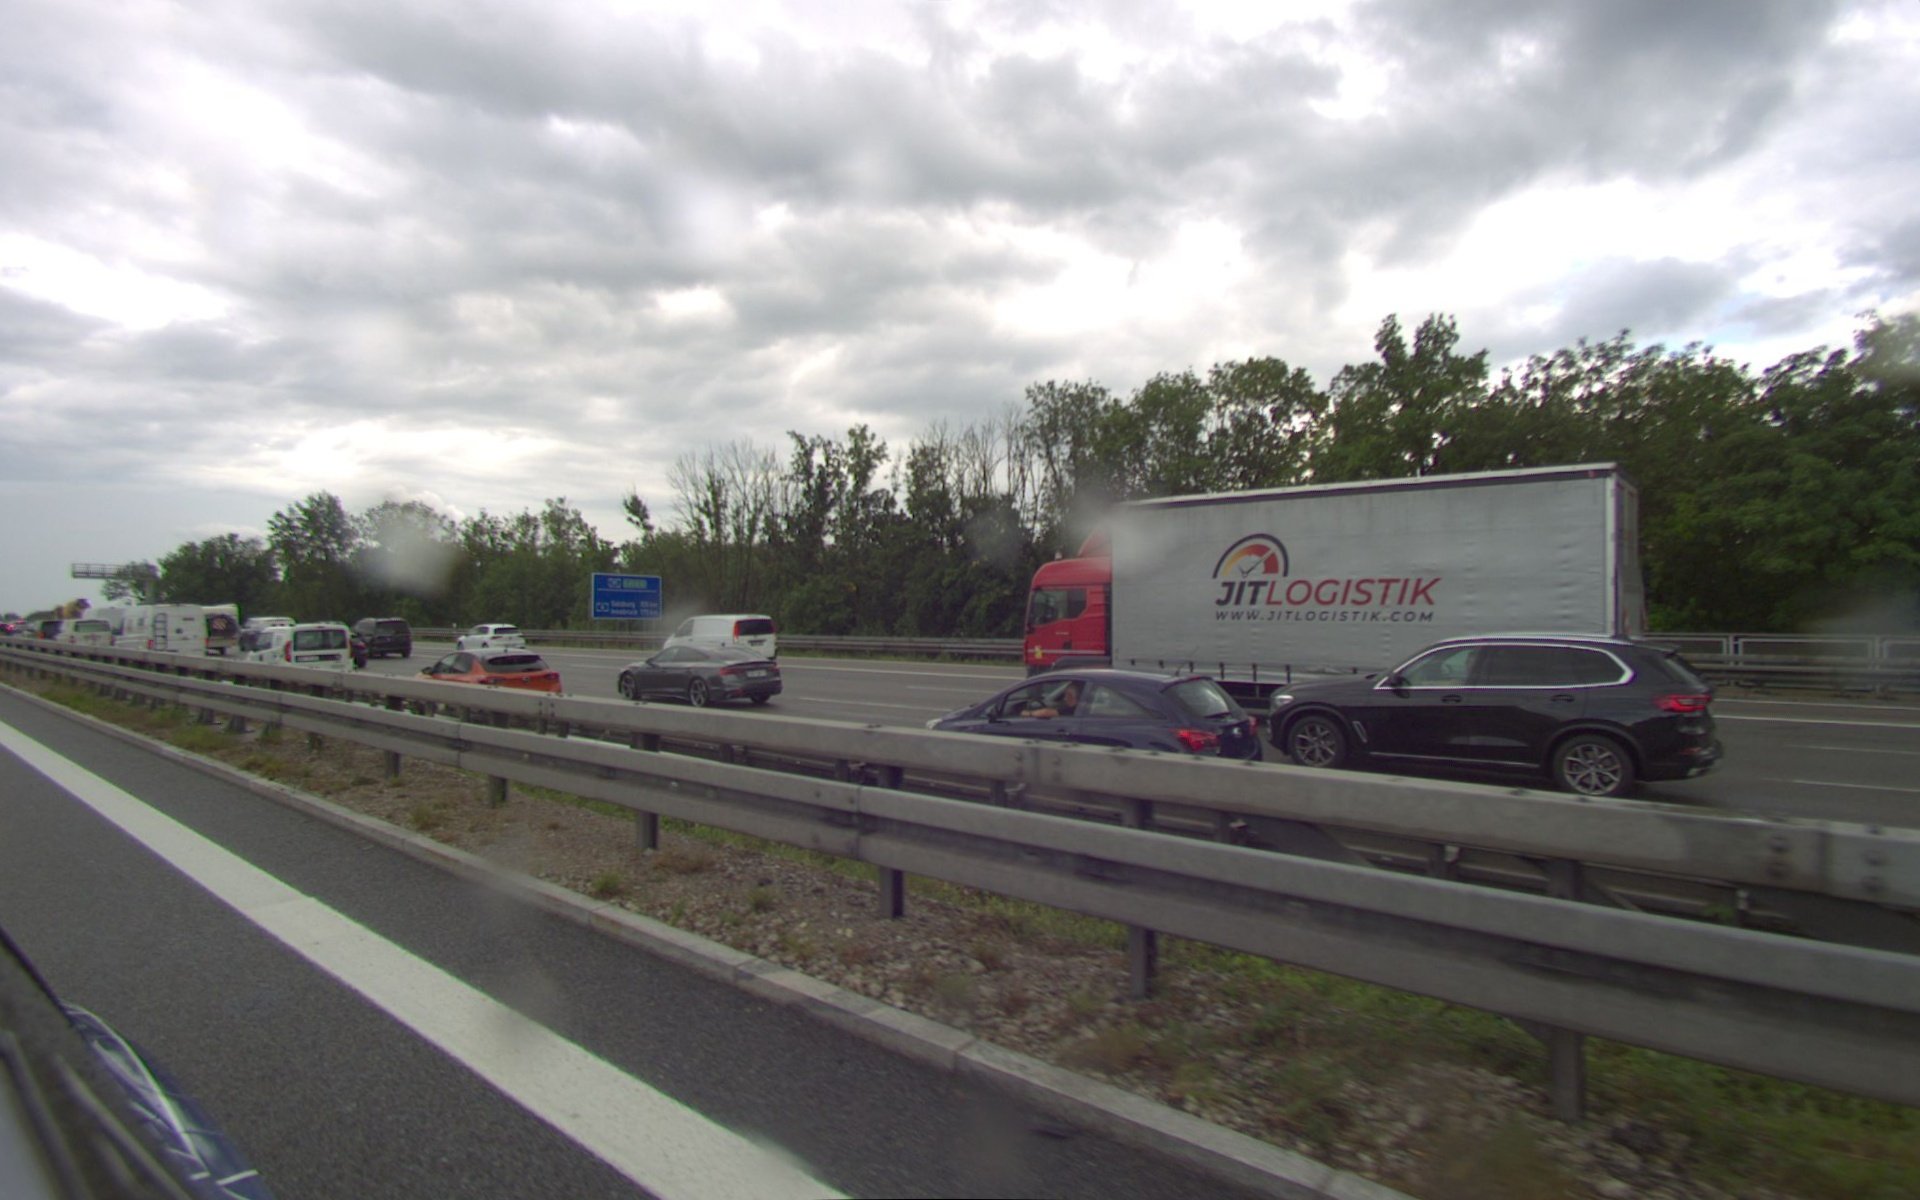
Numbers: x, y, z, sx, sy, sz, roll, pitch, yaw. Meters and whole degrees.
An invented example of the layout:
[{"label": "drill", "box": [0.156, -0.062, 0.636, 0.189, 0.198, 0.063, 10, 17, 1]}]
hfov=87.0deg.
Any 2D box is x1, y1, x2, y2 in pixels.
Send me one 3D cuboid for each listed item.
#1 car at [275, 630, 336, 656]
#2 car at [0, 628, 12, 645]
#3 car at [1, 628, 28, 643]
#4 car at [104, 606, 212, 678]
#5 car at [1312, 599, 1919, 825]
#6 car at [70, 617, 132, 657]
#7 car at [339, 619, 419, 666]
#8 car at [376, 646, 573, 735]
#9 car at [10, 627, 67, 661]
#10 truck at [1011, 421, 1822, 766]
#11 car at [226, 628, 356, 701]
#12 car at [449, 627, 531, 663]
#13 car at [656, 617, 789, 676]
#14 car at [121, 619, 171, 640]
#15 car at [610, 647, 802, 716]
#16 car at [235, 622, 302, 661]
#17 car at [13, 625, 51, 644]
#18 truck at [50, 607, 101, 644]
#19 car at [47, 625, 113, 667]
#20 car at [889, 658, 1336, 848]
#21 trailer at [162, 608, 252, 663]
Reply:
[{"label": "car", "box": [-40.811, 2.646, 63.073, 4.474, 1.506, 1.962, -1, -2, 40]}, {"label": "car", "box": [-97.143, 3.696, 102.087, 4.641, 1.615, 1.705, -1, 0, 40]}, {"label": "car", "box": [-108.641, 4.053, 116.279, 4.516, 1.615, 1.705, -1, 0, 40]}, {"label": "car", "box": [-32.583, 1.644, 41.009, 7.305, 2.698, 2.003, -1, -2, 40]}, {"label": "car", "box": [7.042, 1.038, 11.304, 5.585, 1.977, 1.874, -1, -2, 41]}, {"label": "car", "box": [-59.991, 2.521, 70.606, 7.730, 2.673, 2.027, -1, -2, 40]}, {"label": "car", "box": [-27.214, 1.952, 47.351, 4.474, 2.093, 1.799, -1, -2, 40]}, {"label": "car", "box": [-9.716, 1.706, 20.128, 4.474, 1.472, 1.874, -1, -2, 40]}, {"label": "car", "box": [-54.187, 2.547, 59.469, 5.420, 1.919, 1.799, -1, -2, 40]}, {"label": "truck", "box": [6.553, 0.042, 17.238, 12.287, 4.144, 2.769, -1, -2, 41]}, {"label": "car", "box": [-19.798, 1.803, 29.842, 5.219, 1.967, 1.799, -1, -2, 40]}, {"label": "car", "box": [-22.198, 2.092, 47.697, 4.474, 1.620, 1.799, -1, -2, 40]}, {"label": "car", "box": [-8.285, 1.558, 35.019, 5.136, 1.927, 1.874, -1, -2, 41]}, {"label": "car", "box": [-59.879, 2.185, 74.400, 4.909, 1.506, 1.962, -1, -2, 40]}, {"label": "car", "box": [-5.777, 1.753, 22.741, 4.576, 1.307, 1.874, -1, -2, 40]}, {"label": "car", "box": [-38.910, 2.277, 56.915, 4.474, 2.093, 1.962, -1, -2, 40]}, {"label": "car", "box": [-78.911, 2.950, 86.021, 4.908, 1.505, 1.706, -1, 0, 39]}, {"label": "truck", "box": [-99.713, 2.877, 114.045, 9.575, 4.045, 2.886, -2, -1, 40]}, {"label": "car", "box": [-46.143, 2.353, 53.030, 5.371, 2.093, 1.799, -1, -2, 40]}, {"label": "car", "box": [1.478, 1.443, 10.920, 4.474, 1.500, 1.874, -1, -2, 40]}, {"label": "trailer", "box": [-39.398, 1.821, 52.844, 7.180, 2.673, 2.317, -1, -2, 41]}]
